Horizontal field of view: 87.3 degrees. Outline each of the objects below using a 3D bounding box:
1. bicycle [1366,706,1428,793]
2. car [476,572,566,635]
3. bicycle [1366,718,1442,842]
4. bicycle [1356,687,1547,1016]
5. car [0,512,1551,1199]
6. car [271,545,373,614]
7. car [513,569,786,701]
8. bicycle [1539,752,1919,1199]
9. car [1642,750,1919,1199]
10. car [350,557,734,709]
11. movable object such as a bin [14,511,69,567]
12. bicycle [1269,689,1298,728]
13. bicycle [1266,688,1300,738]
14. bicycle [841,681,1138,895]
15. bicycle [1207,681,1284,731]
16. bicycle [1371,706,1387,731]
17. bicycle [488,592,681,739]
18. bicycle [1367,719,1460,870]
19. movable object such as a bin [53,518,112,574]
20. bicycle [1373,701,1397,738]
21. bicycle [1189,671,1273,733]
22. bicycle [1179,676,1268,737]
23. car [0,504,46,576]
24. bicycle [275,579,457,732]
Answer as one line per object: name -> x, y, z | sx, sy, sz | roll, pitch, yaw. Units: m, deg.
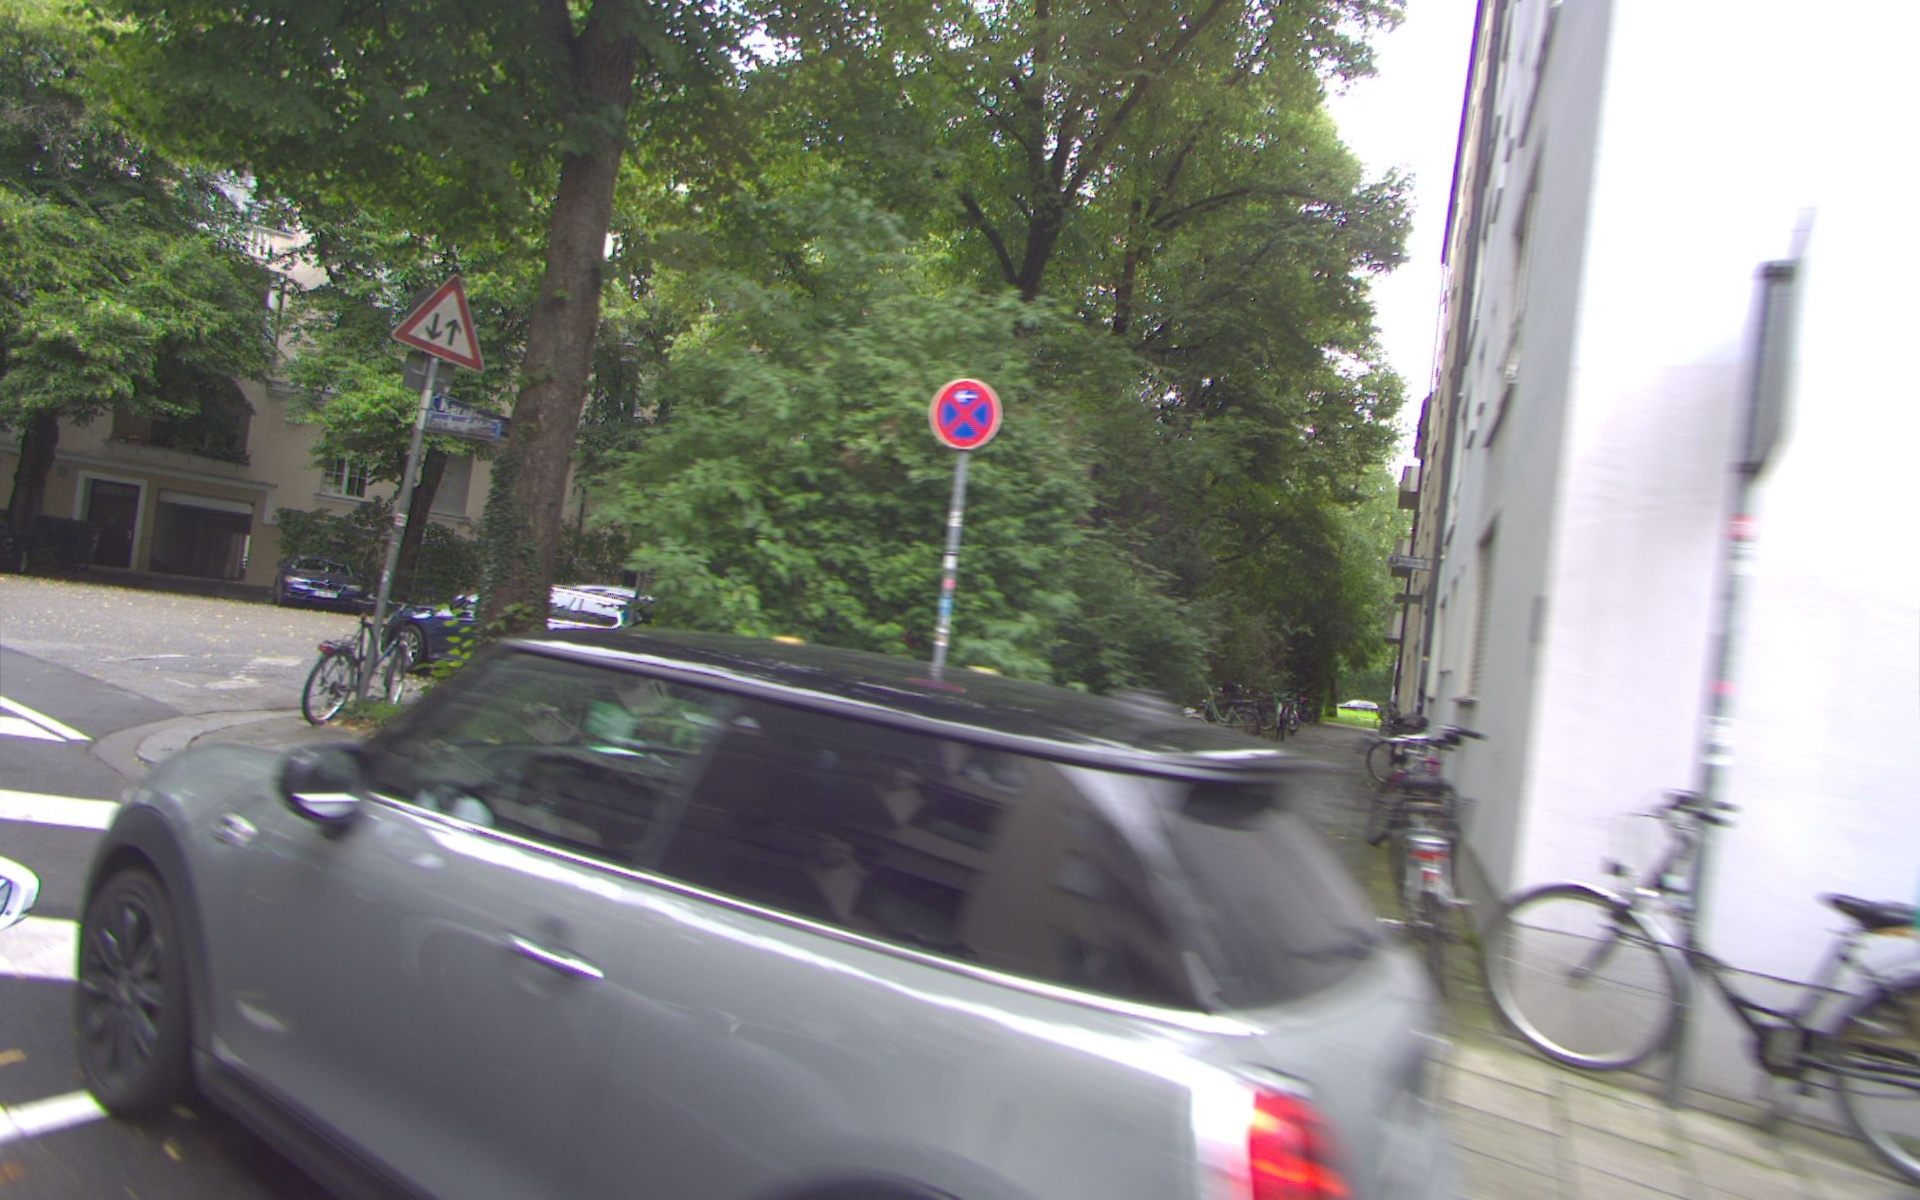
bicycle -> 6.063, 2.044, 14.021 | 0.641, 1.034, 1.703 | 7, -2, 22
car -> -12.434, 0.139, 28.372 | 1.843, 1.440, 4.138 | 8, -5, -28
bicycle -> 4.416, 1.741, 10.055 | 0.529, 1.034, 1.703 | 7, -2, 23
bicycle -> 2.359, 1.110, 5.012 | 0.567, 1.243, 1.855 | 7, -2, 22
car -> -0.749, 0.724, 2.754 | 3.933, 1.458, 1.746 | 6, -2, 31
car -> -16.461, -0.534, 25.872 | 1.829, 1.398, 4.302 | 9, -3, -36
car -> -5.034, 0.568, 16.312 | 3.913, 1.573, 1.757 | 7, -2, 25
bicycle -> 3.137, 1.305, 3.428 | 1.885, 1.233, 0.561 | 7, -2, 30
car -> 2.906, 1.168, 0.529 | 3.988, 1.436, 1.838 | 6, -2, 29
car -> -5.702, 0.444, 13.783 | 4.646, 1.393, 1.962 | 7, -2, 20
movable object such as a bin -> -24.794, -1.636, 27.178 | 0.708, 1.363, 1.362 | 8, -2, -32
bicycle -> 9.967, 3.335, 30.939 | 0.565, 1.080, 2.116 | 7, -3, 23
bicycle -> 7.639, 2.654, 23.775 | 0.538, 1.070, 1.877 | 7, -2, 22
bicycle -> 0.185, 1.132, 6.043 | 1.612, 1.068, 0.450 | 9, -2, -18
bicycle -> 7.591, 2.814, 26.749 | 1.840, 1.035, 0.549 | 7, -2, 20
bicycle -> 18.478, 5.212, 44.384 | 0.538, 1.034, 2.070 | 7, -3, 22
bicycle -> -3.146, 0.566, 8.609 | 0.594, 1.067, 1.637 | 7, -2, 15
bicycle -> 3.764, 1.564, 8.426 | 0.529, 1.034, 1.703 | 7, -2, 23
movable object such as a bin -> -23.803, -1.456, 27.317 | 0.858, 1.319, 1.419 | 11, -3, -34
bicycle -> 13.283, 3.716, 31.443 | 0.538, 1.034, 2.070 | 7, -3, 22
bicycle -> 6.702, 2.511, 24.889 | 1.840, 1.258, 0.549 | 7, -1, 20
bicycle -> 6.106, 2.459, 23.335 | 1.840, 1.095, 0.549 | 7, -2, 20
car -> -22.182, -1.476, 22.363 | 1.693, 1.482, 4.260 | 10, -5, -30
bicycle -> -5.163, 0.470, 8.881 | 0.545, 1.150, 1.773 | 7, -2, -5
